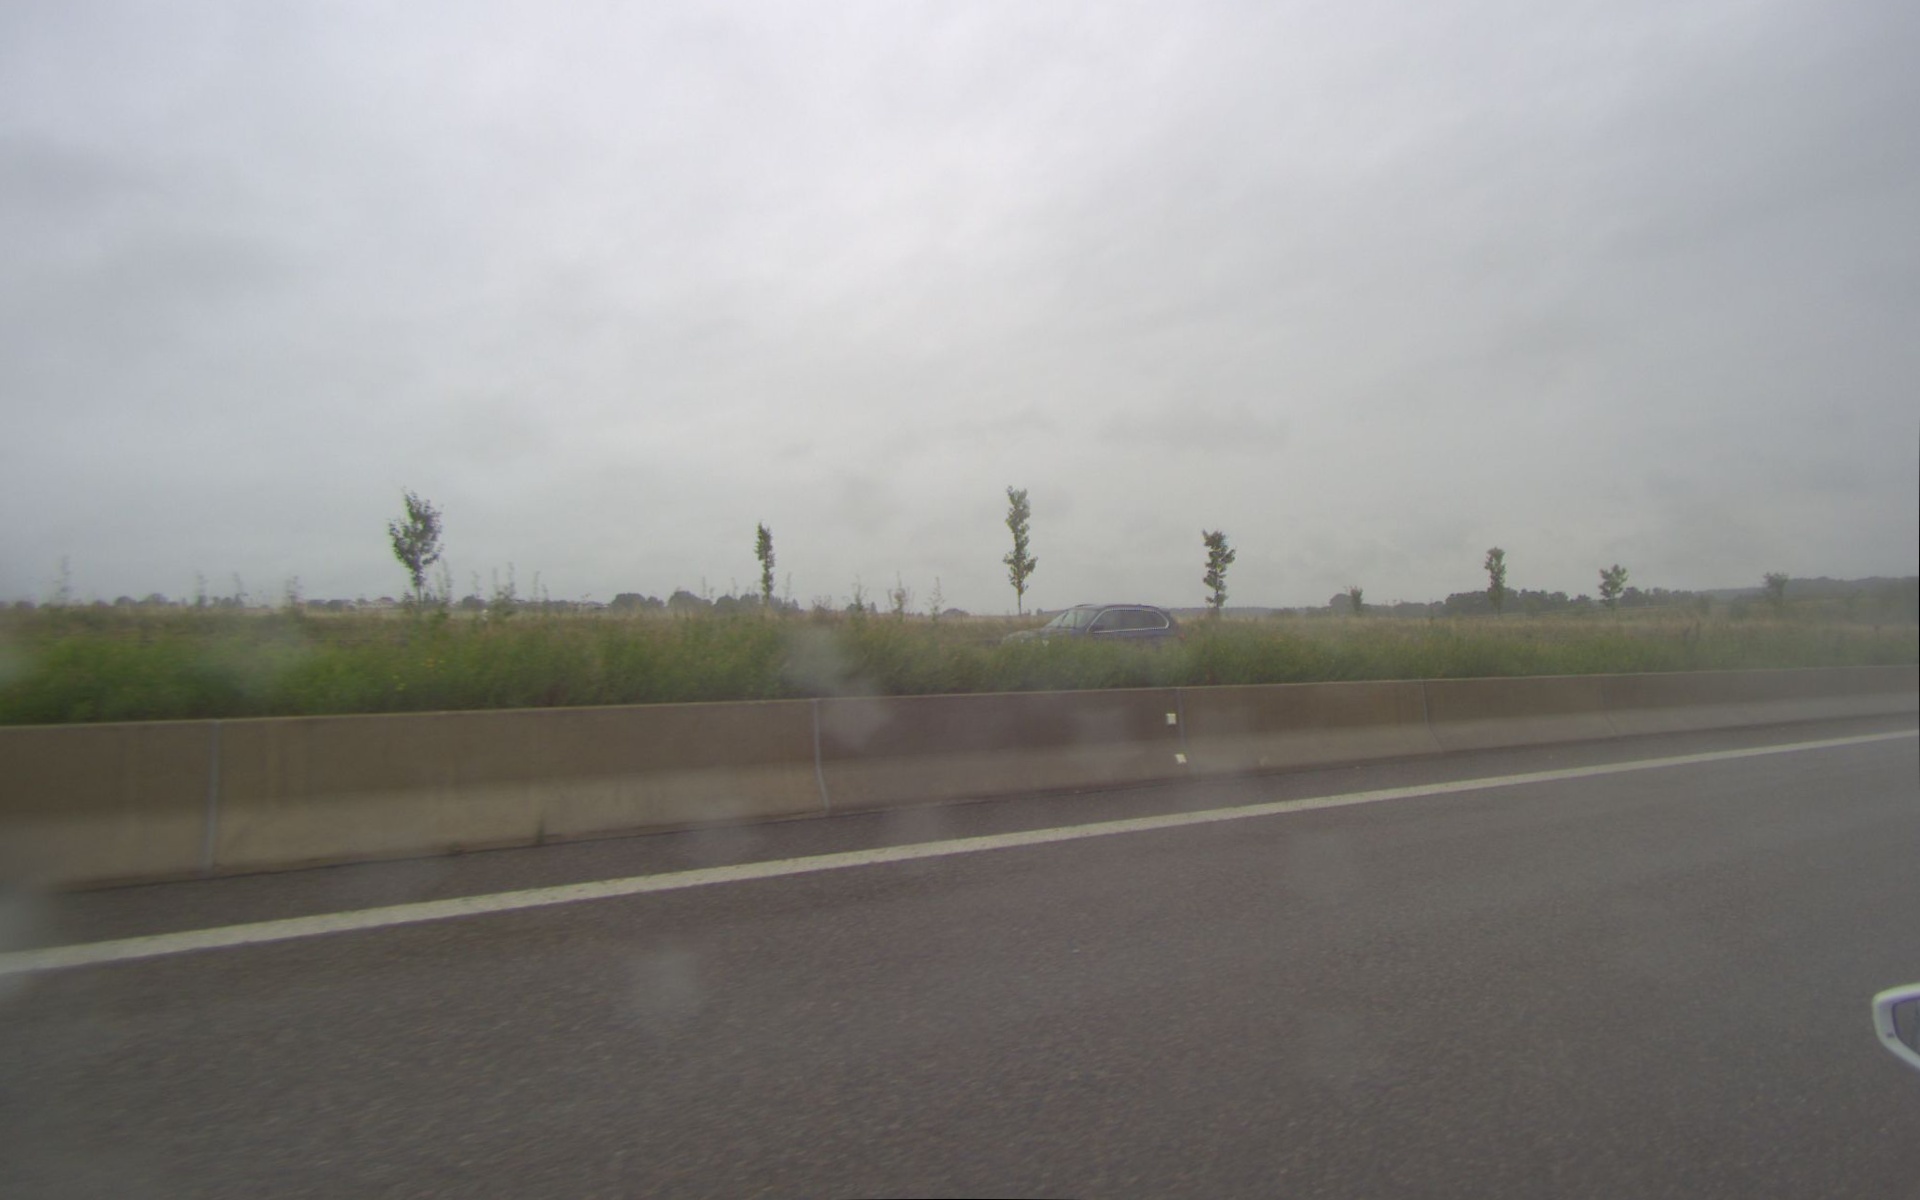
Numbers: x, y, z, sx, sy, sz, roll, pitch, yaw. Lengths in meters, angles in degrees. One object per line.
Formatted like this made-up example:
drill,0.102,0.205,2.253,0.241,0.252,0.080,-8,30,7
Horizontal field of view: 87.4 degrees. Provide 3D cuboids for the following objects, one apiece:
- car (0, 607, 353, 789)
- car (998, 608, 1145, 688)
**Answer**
car,-7.741,0.864,9.711,3.135,1.545,1.438,1,0,-30
car,2.603,1.082,23.421,3.135,1.750,1.488,1,0,-30
